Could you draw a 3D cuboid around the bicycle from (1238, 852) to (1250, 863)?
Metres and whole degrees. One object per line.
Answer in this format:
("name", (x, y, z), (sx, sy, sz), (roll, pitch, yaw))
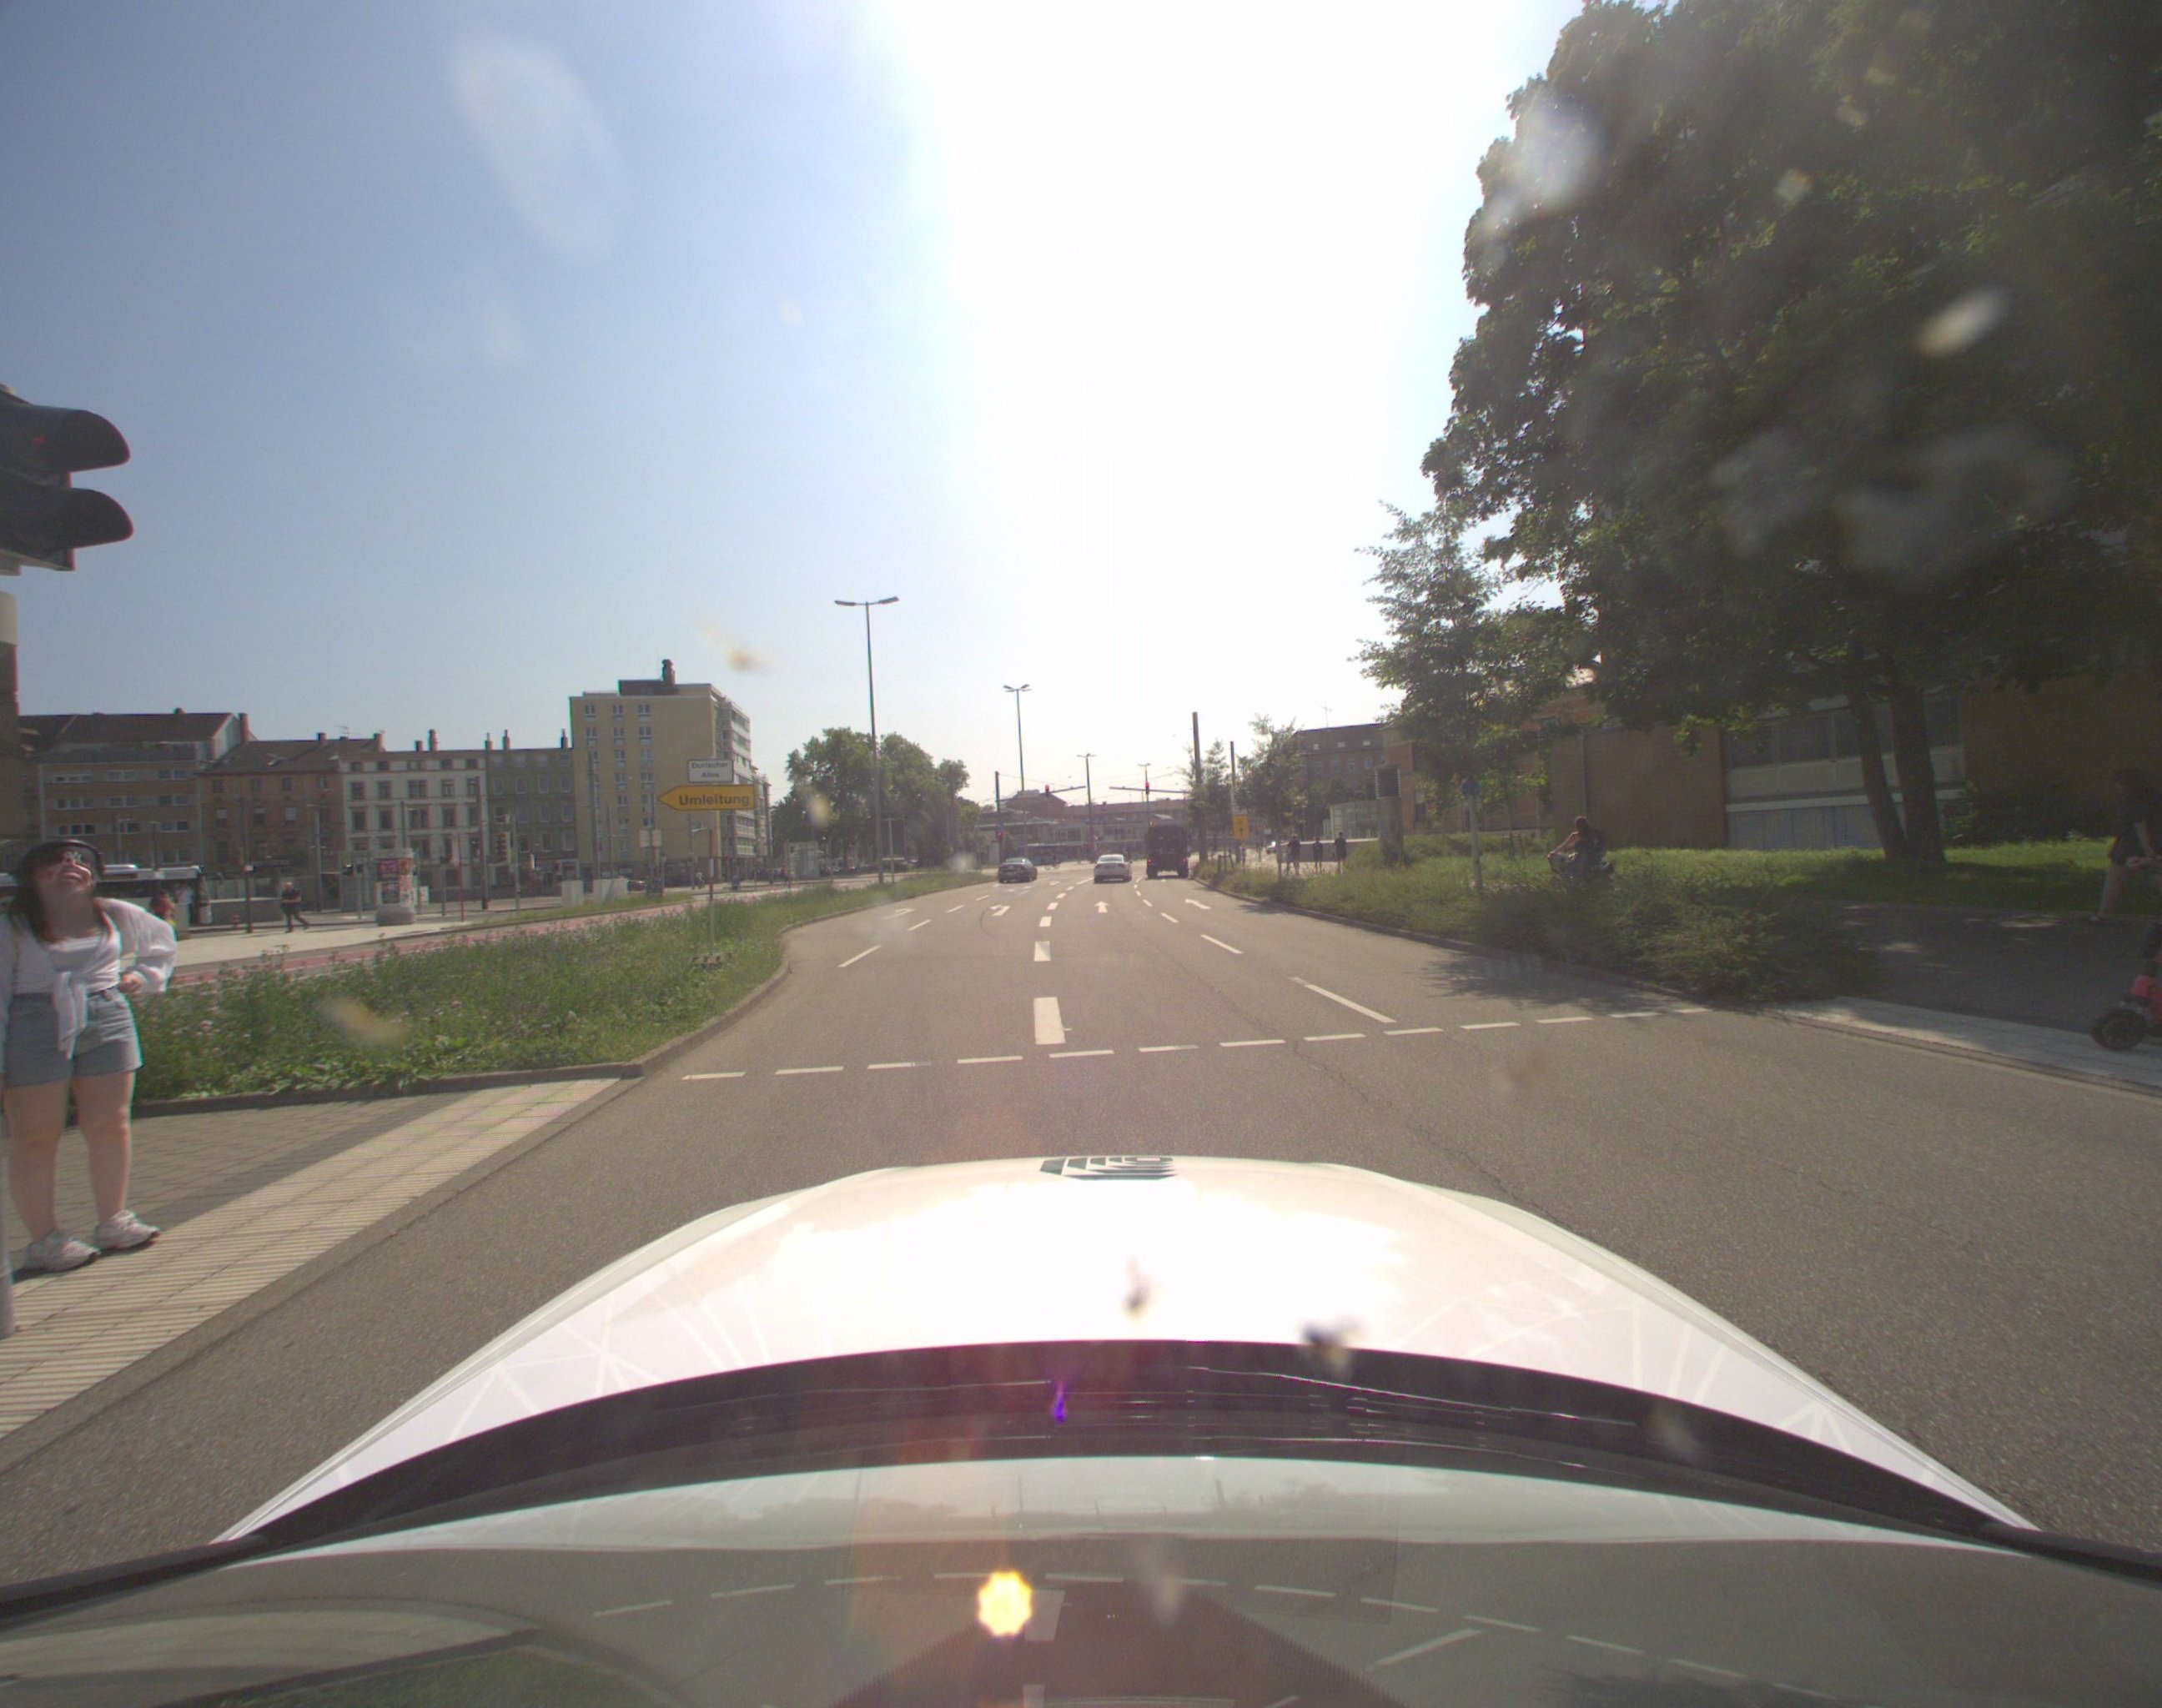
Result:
("bicycle", (12.057, 0.244, 60.388), (0.671, 0.776, 2.132), (-3, 0, 7))

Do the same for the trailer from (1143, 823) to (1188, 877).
("trailer", (5.158, -0.269, 49.129), (2.450, 3.007, 6.337), (-1, 0, 7))

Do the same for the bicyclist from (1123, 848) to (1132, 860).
("bicyclist", (6.018, 0.007, 105.554), (0.905, 1.501, 0.861), (-3, 0, -13))

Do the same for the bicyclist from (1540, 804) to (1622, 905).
("bicyclist", (8.362, 0.007, 13.647), (0.689, 1.598, 0.842), (-5, 0, -5))

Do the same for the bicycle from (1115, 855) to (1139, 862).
("bicycle", (5.932, 0.602, 105.530), (2.939, 0.727, 0.861), (-3, 0, -14))

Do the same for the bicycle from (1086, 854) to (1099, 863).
("bicycle", (1.459, 0.572, 102.536), (1.577, 0.985, 0.510), (-3, 0, 21))

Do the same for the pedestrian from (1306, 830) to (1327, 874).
("pedestrian", (10.761, -0.109, 37.233), (0.771, 1.973, 0.757), (-3, 0, 20))

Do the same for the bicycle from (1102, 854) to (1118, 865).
("bicycle", (3.054, 0.585, 85.465), (0.689, 1.136, 2.057), (-1, 1, 37))

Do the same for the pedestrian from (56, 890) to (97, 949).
("pedestrian", (-31.099, 2.023, 25.215), (0.689, 1.763, 0.554), (-3, 0, 18))

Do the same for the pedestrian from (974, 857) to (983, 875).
("pedestrian", (-7.549, 0.873, 60.029), (0.596, 1.268, 0.503), (-3, 2, -13))

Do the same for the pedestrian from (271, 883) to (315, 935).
("pedestrian", (-26.778, 1.849, 27.679), (0.643, 1.702, 0.807), (-3, 0, -6))

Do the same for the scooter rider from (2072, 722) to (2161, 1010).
("scooter rider", (6.943, 0.054, 4.979), (0.796, 1.739, 0.692), (-4, 0, 17))

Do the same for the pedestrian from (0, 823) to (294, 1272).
("pedestrian", (-4.047, 0.744, 3.509), (0.701, 1.695, 0.603), (-3, 0, -24))

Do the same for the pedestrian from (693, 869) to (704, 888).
("pedestrian", (-35.261, 2.246, 75.028), (0.649, 1.633, 0.811), (-3, 0, -12))

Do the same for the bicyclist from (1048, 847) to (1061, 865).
("bicyclist", (-2.643, 0.192, 80.460), (0.978, 1.654, 0.656), (-3, 0, -28))

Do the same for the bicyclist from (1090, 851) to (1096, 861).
("bicyclist", (1.493, 0.234, 102.521), (0.499, 1.188, 0.510), (-3, 0, 22))

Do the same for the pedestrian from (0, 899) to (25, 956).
("pedestrian", (-31.132, 2.127, 23.573), (0.485, 1.614, 0.574), (-3, 0, 29))

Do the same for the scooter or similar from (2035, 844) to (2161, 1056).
("scooter or similar", (7.037, 0.556, 5.013), (1.353, 1.234, 0.588), (-4, 0, 17))

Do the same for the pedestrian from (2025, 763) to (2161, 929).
("pedestrian", (11.290, -0.099, 8.939), (0.705, 1.704, 0.877), (-5, 0, -6))

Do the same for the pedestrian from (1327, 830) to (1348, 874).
("pedestrian", (11.772, -0.113, 37.337), (0.771, 1.973, 0.757), (-3, 0, 20))

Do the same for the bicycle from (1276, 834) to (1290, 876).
("bicycle", (9.295, 0.042, 37.487), (0.452, 1.860, 1.369), (-3, 0, 17))

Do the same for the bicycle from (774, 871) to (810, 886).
("bicycle", (-21.338, 1.792, 60.110), (2.411, 0.953, 0.601), (-3, 0, -13))

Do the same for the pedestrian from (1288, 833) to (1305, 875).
("pedestrian", (9.922, 0.005, 37.506), (0.655, 1.860, 0.797), (-3, 0, 17))

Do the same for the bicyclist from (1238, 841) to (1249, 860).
("bicyclist", (12.020, -0.258, 60.323), (0.671, 1.320, 0.685), (-3, 0, 7))

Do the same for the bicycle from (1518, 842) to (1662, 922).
("bicycle", (8.407, 0.432, 13.613), (0.693, 1.155, 2.367), (-5, 0, -5))

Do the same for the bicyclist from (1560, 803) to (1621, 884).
("bicyclist", (9.971, -0.212, 15.948), (0.549, 1.496, 0.800), (-4, 2, -14))

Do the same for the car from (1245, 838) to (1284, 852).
("car", (21.805, -1.039, 96.769), (4.067, 1.425, 1.764), (-3, 0, -20))

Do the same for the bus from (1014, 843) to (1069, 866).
("bus", (-5.404, 0.017, 115.328), (3.027, 2.931, 11.917), (-3, 0, 22))

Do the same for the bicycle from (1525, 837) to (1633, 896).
("bicycle", (9.917, 0.212, 16.306), (0.557, 1.060, 1.995), (-5, 2, -14))

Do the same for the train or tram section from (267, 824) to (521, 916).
("train or tram section", (-31.692, 0.605, 38.065), (3.104, 3.569, 8.299), (-5, 0, 32))

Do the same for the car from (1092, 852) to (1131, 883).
("car", (1.696, 0.692, 43.858), (1.749, 1.455, 4.433), (-2, 0, 6))

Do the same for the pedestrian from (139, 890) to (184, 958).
("pedestrian", (-23.947, 1.801, 21.219), (0.631, 1.702, 0.778), (-1, -1, -38))

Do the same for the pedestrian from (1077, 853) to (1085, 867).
("pedestrian", (0.037, 0.818, 105.937), (0.777, 1.752, 0.813), (-3, 0, 20))

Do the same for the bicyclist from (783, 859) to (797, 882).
("bicyclist", (-21.493, 1.224, 60.084), (0.839, 1.642, 0.604), (-3, 0, -13))

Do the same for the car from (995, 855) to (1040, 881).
("car", (-3.841, 0.846, 49.708), (1.747, 1.404, 3.991), (-2, 0, 9))

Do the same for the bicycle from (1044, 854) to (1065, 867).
("bicycle", (-2.640, 0.636, 80.500), (0.977, 1.178, 2.806), (-3, 0, -27))

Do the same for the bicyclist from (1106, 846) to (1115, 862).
("bicyclist", (3.065, -0.048, 85.498), (0.684, 1.649, 0.623), (-1, 1, 37))

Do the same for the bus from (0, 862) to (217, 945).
("bus", (-43.761, 2.116, 32.299), (3.066, 3.070, 12.563), (-3, 0, 32))
